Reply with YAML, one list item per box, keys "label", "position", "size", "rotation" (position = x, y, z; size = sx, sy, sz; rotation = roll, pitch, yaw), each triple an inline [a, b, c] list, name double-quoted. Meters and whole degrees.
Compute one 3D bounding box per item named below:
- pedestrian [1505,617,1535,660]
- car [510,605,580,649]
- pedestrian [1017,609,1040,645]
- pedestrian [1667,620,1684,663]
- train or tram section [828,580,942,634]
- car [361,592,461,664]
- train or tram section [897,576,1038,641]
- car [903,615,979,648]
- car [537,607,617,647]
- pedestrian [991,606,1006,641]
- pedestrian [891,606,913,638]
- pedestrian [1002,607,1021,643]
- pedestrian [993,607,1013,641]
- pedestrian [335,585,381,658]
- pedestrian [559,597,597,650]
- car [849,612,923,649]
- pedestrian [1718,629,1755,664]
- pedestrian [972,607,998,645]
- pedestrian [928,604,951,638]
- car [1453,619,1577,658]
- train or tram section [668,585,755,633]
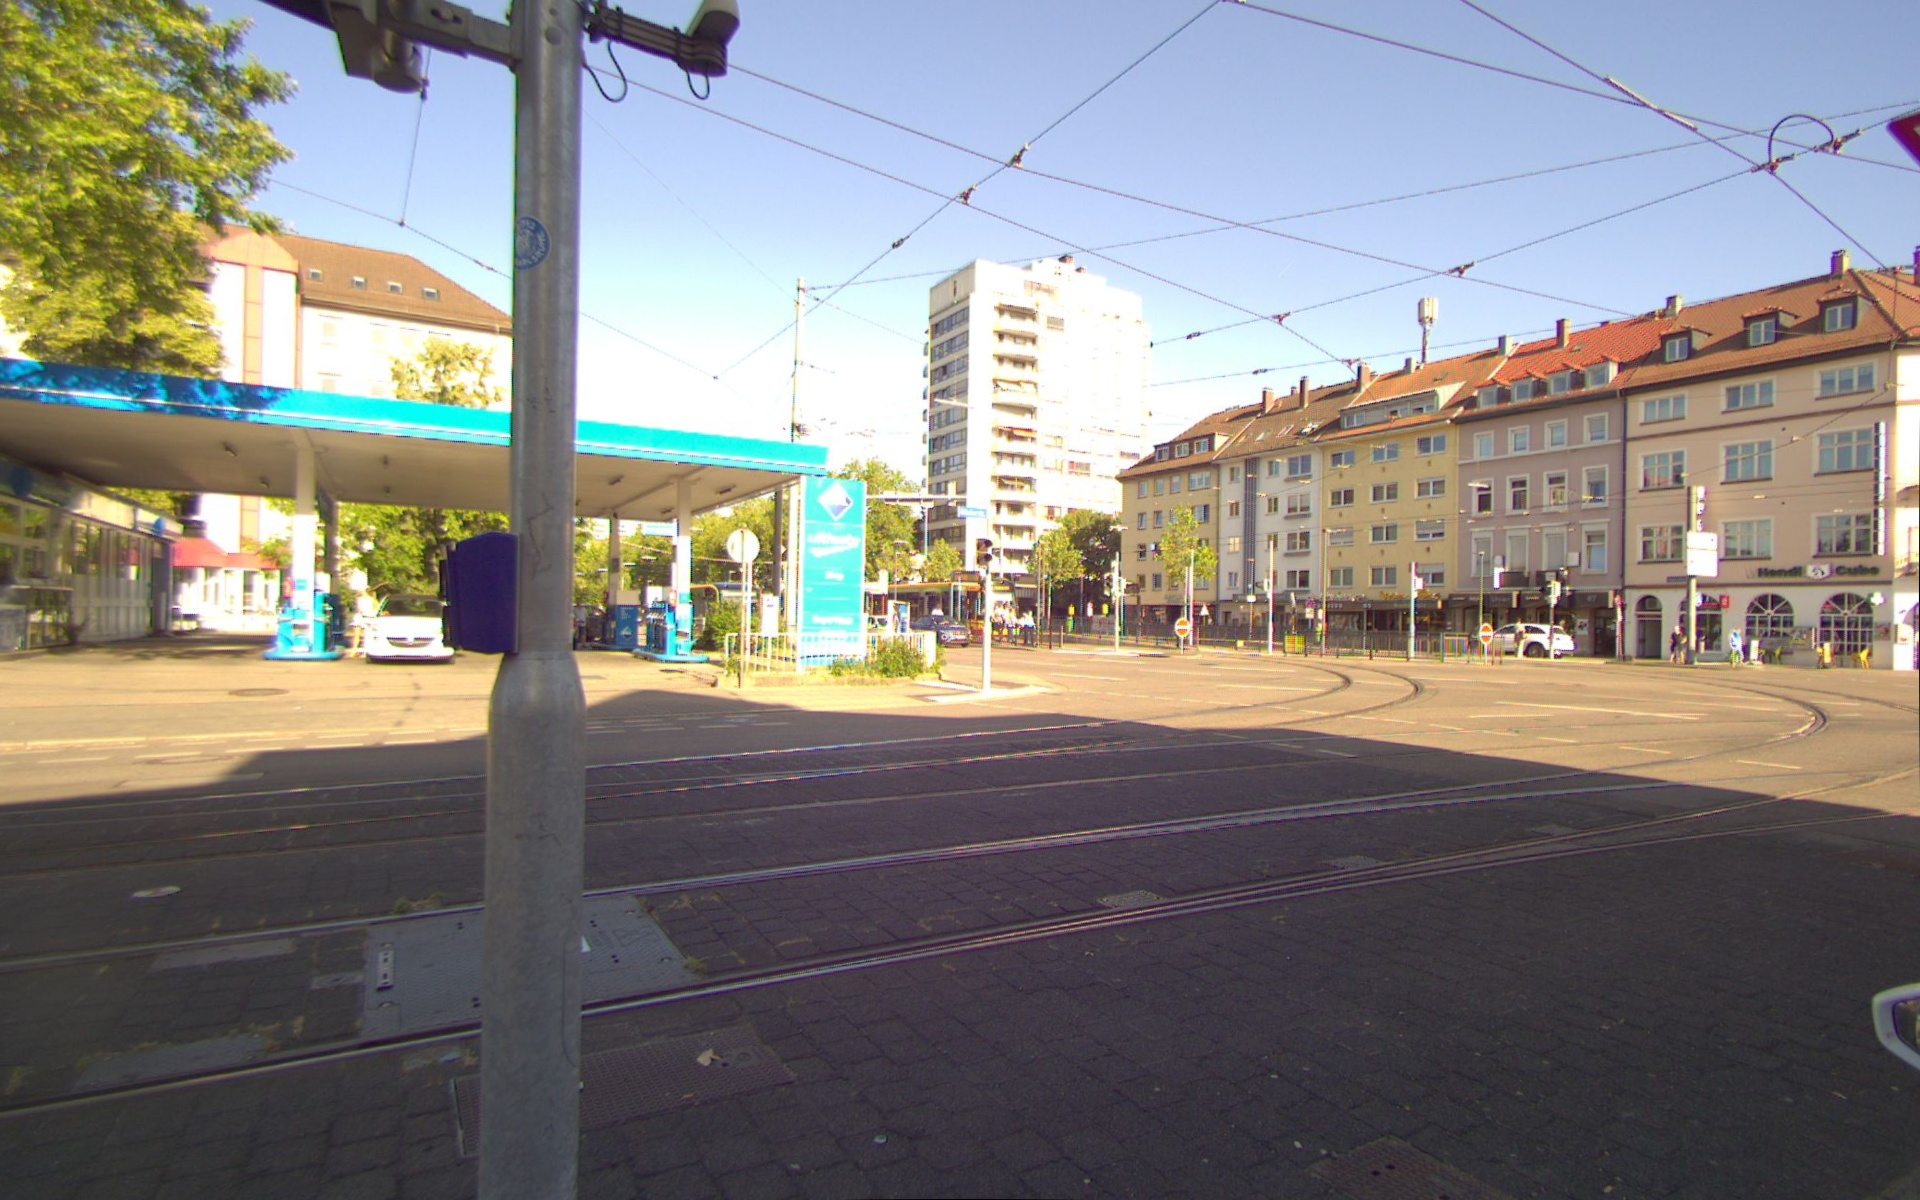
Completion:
- label: "pedestrian"
  position: [24.494, 1.695, 43.953]
  size: [0.801, 1.842, 0.871]
  rotation: [1, -1, -29]
- label: "car"
  position: [-13.503, 0.865, 32.574]
  size: [1.752, 1.332, 3.520]
  rotation: [1, -1, -28]
- label: "pedestrian"
  position: [3.166, 1.265, 46.680]
  size: [0.791, 1.646, 0.706]
  rotation: [1, -1, -33]
- label: "pedestrian"
  position: [34.209, 1.983, 48.018]
  size: [0.498, 2.040, 0.507]
  rotation: [1, -1, -27]
- label: "train or tram section"
  position: [-5.252, 0.519, 67.579]
  size: [3.252, 3.335, 10.157]
  rotation: [1, -1, -33]
- label: "car"
  position: [-12.273, 0.608, 22.430]
  size: [1.773, 1.461, 3.968]
  rotation: [2, -1, -30]
- label: "train or tram section"
  position: [0.229, 0.516, 58.961]
  size: [3.252, 3.459, 10.157]
  rotation: [1, -1, -33]
- label: "car"
  position: [-0.960, 1.491, 48.345]
  size: [1.937, 1.475, 4.077]
  rotation: [1, 0, -30]
- label: "car"
  position: [-17.205, 1.212, 45.380]
  size: [1.960, 1.685, 4.001]
  rotation: [1, -1, 2]
- label: "pedestrian"
  position: [1.872, 1.171, 49.427]
  size: [0.491, 1.721, 0.553]
  rotation: [1, -1, -33]
- label: "pedestrian"
  position: [-3.399, 1.279, 58.825]
  size: [0.902, 1.826, 0.887]
  rotation: [1, -1, -33]
- label: "pedestrian"
  position: [2.456, 1.206, 48.098]
  size: [0.549, 1.721, 0.740]
  rotation: [1, -1, -33]
- label: "pedestrian"
  position: [2.149, 1.201, 50.284]
  size: [0.773, 1.721, 0.692]
  rotation: [1, -1, -33]
- label: "pedestrian"
  position: [-13.903, 0.506, 23.232]
  size: [0.801, 1.652, 0.643]
  rotation: [1, -1, -24]
- label: "pedestrian"
  position: [-13.404, 0.811, 35.273]
  size: [0.882, 1.826, 0.907]
  rotation: [0, -1, 41]
- label: "car"
  position: [-3.508, 1.393, 46.803]
  size: [1.976, 1.615, 3.970]
  rotation: [1, -1, -29]
- label: "pedestrian"
  position: [36.607, 2.191, 47.349]
  size: [1.029, 1.612, 1.061]
  rotation: [1, -1, -28]
- label: "pedestrian"
  position: [1.215, 1.239, 48.568]
  size: [0.902, 1.826, 0.887]
  rotation: [1, -1, -33]
- label: "pedestrian"
  position: [-1.105, 1.141, 54.691]
  size: [0.902, 1.826, 0.887]
  rotation: [1, -1, -33]
- label: "car"
  position: [26.106, 1.768, 47.412]
  size: [1.977, 1.682, 4.823]
  rotation: [1, -1, -31]
- label: "train or tram section"
  position: [-15.032, 0.450, 60.036]
  size: [2.233, 2.627, 10.398]
  rotation: [2, 0, -30]
